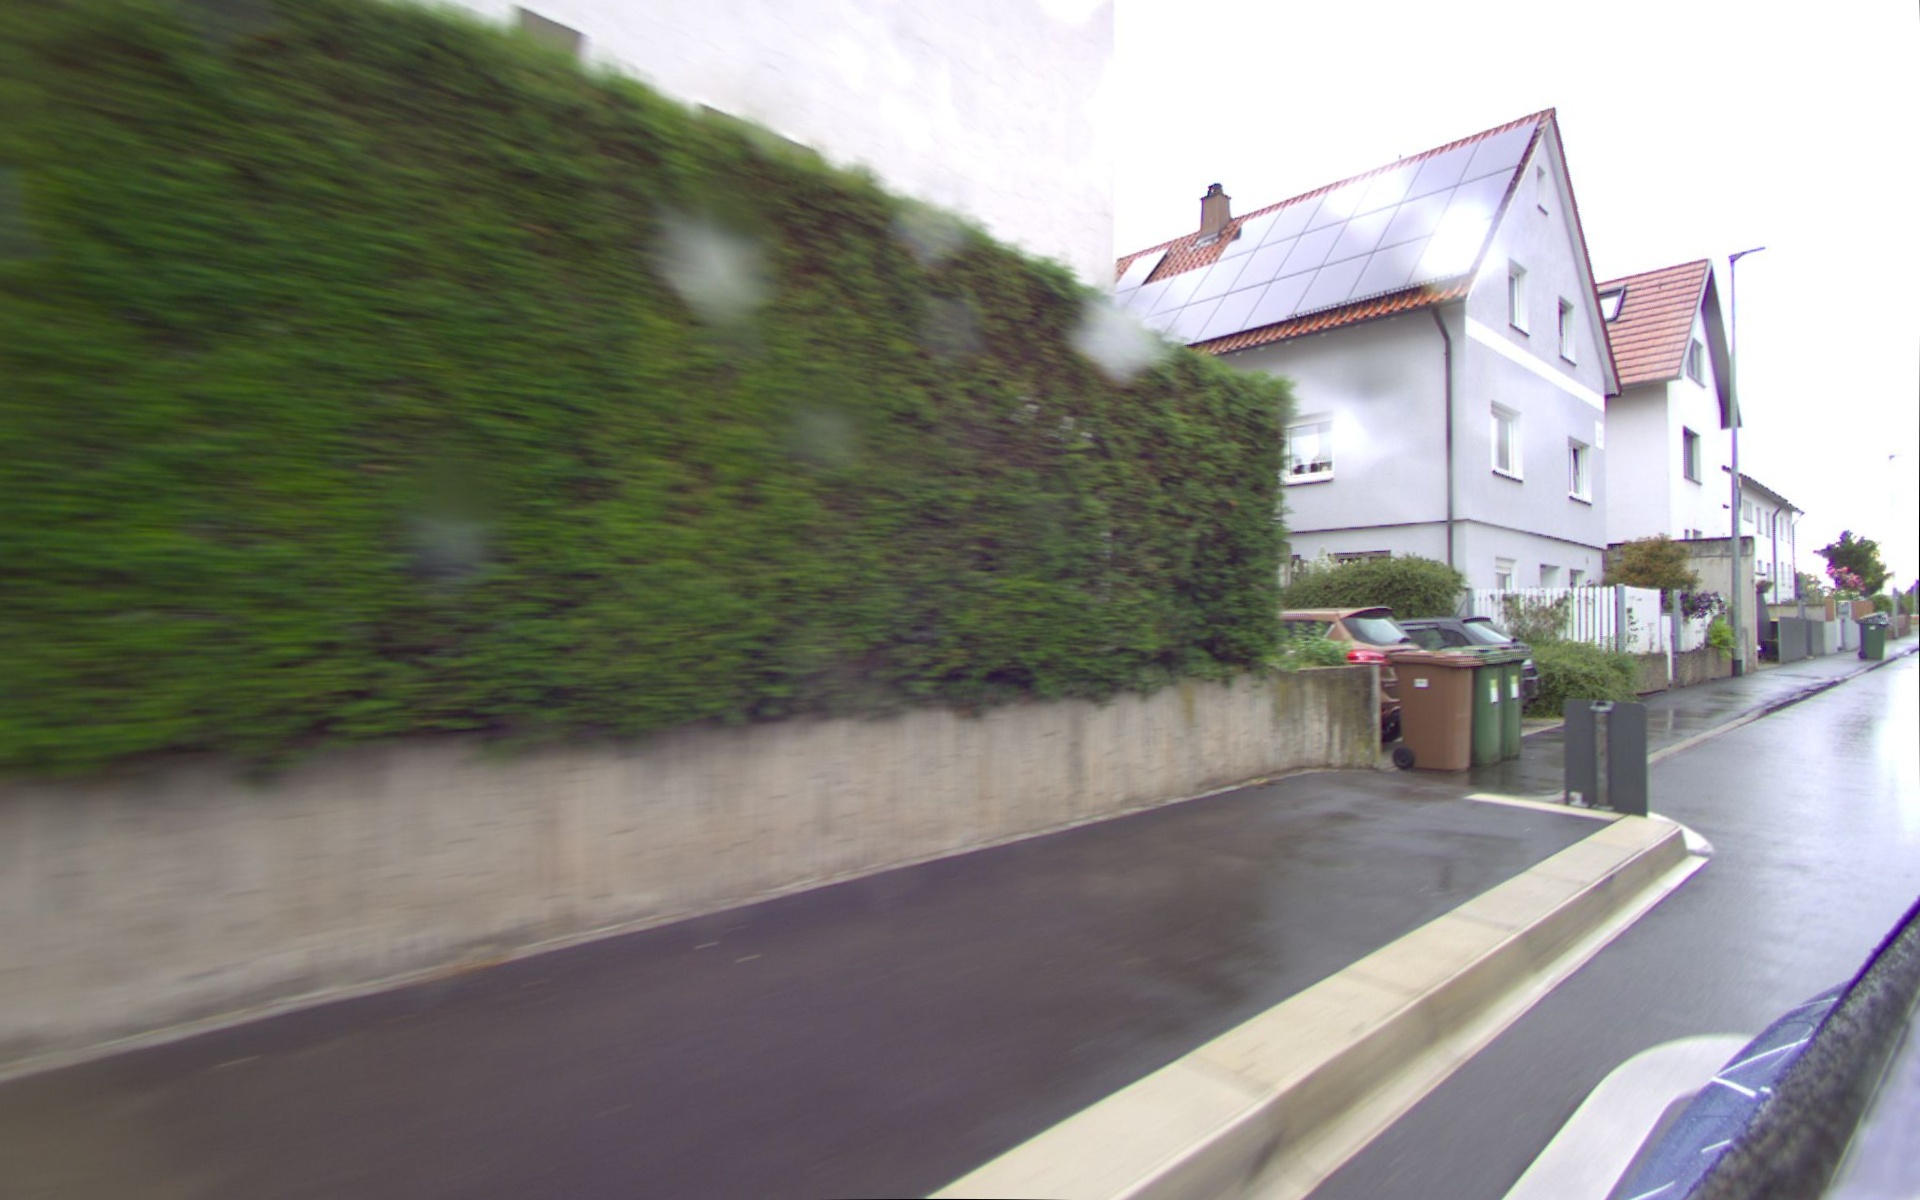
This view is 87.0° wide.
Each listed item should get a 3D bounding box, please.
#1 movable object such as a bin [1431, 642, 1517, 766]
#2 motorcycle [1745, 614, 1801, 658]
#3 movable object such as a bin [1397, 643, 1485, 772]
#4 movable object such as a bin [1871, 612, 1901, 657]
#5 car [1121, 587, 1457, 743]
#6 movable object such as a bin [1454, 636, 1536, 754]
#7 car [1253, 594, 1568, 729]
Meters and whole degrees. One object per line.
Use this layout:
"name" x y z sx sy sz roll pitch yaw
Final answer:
"movable object such as a bin" 4.822 0.949 9.493 0.529 1.090 0.568 1 -2 -44
"motorcycle" 19.885 0.865 24.777 0.547 1.025 1.148 0 1 8
"movable object such as a bin" 4.340 0.948 9.135 0.515 1.090 0.568 1 -2 -44
"movable object such as a bin" 25.199 0.917 27.543 0.529 1.201 0.568 1 -1 -44
"car" 3.773 0.644 11.987 1.553 1.529 3.481 1 0 -42
"movable object such as a bin" 5.245 0.912 9.925 0.529 1.090 0.568 1 -2 -44
"car" 5.981 0.887 13.705 1.553 1.501 3.446 1 -7 -42
